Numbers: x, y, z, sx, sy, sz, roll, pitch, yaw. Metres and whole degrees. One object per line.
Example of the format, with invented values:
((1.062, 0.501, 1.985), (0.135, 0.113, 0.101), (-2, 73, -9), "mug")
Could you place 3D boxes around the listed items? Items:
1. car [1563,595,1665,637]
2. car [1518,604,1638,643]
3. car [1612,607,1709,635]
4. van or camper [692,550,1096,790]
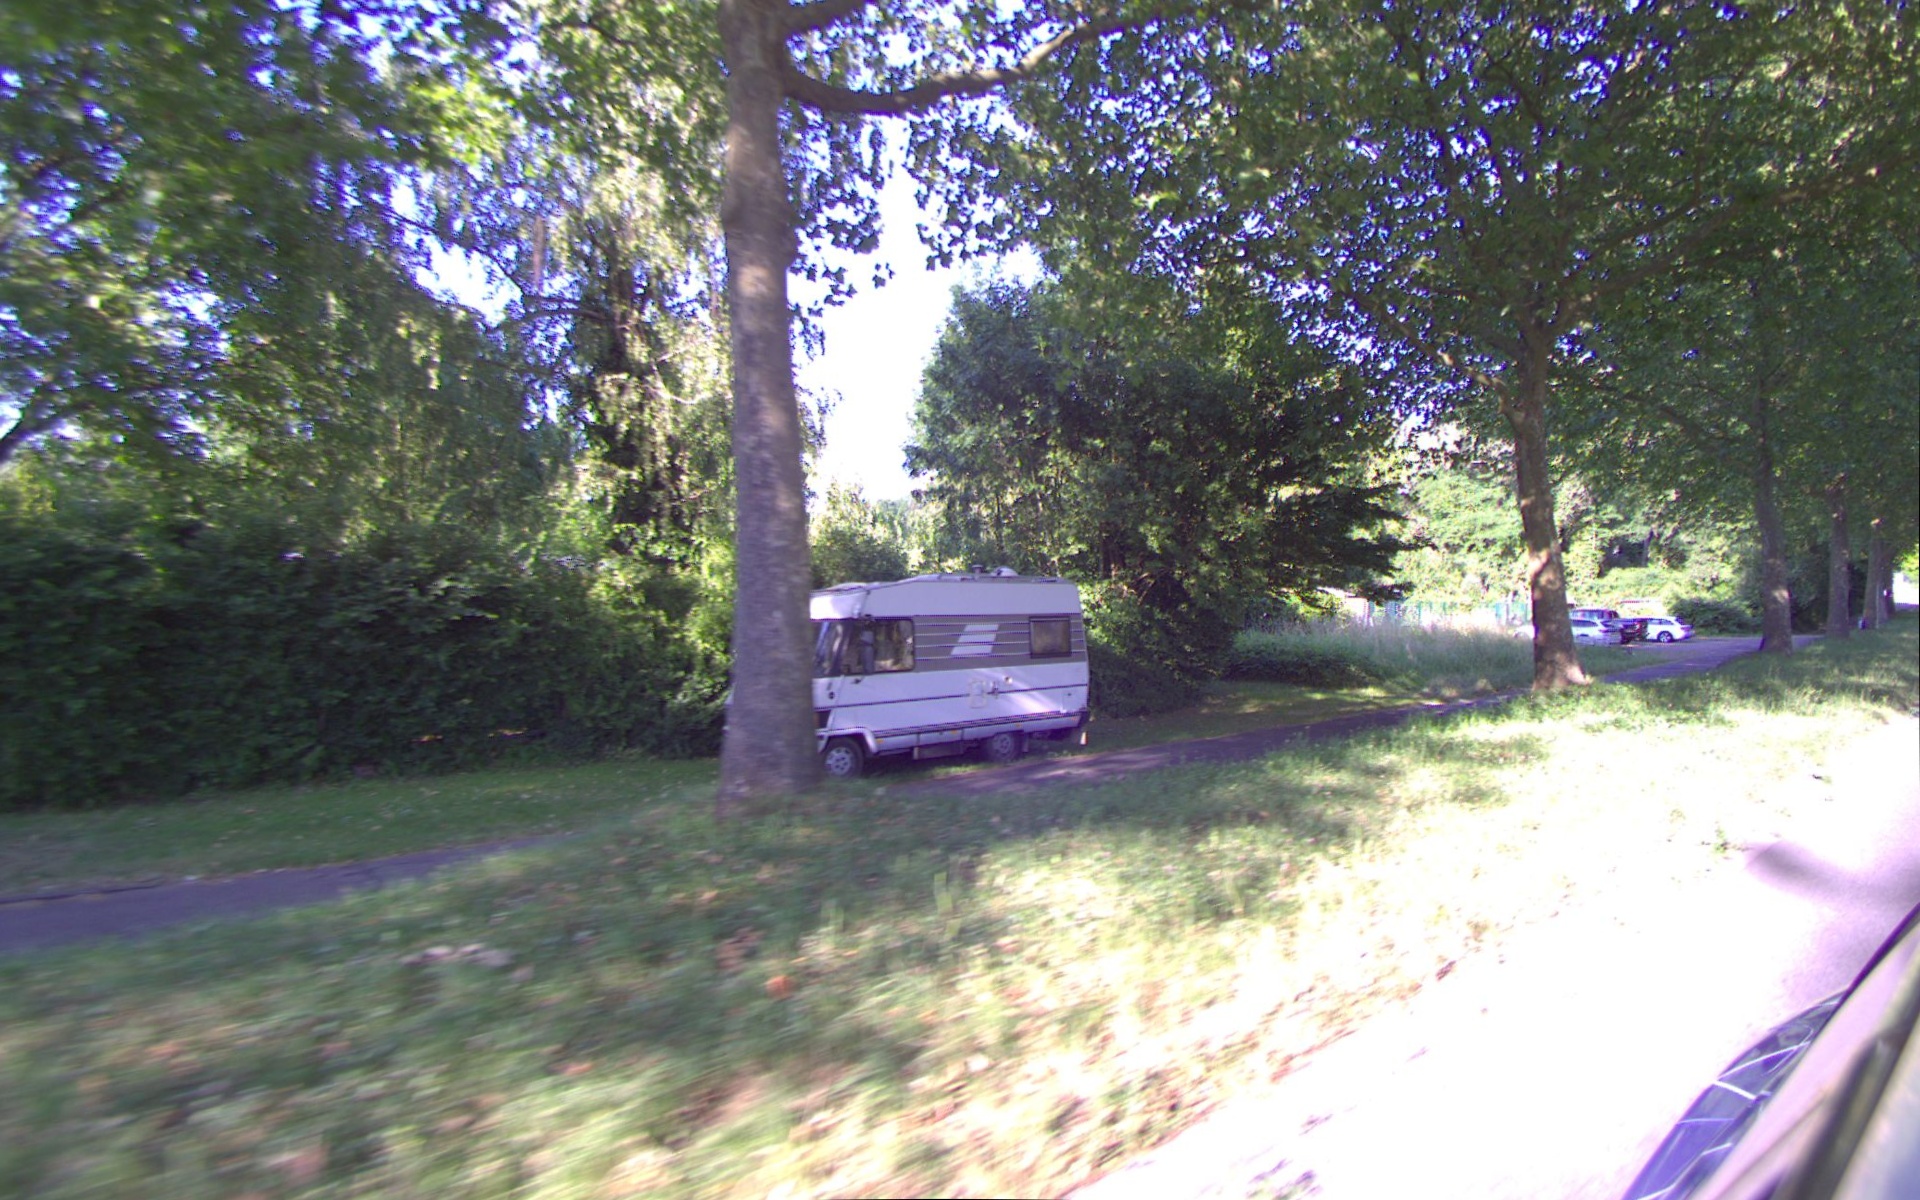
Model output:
((33.696, 0.774, 52.230), (1.962, 2.039, 4.001), (0, 1, -34), "car")
((29.485, 1.067, 48.409), (1.962, 1.691, 4.516), (-1, 1, -34), "car")
((38.636, 1.136, 55.884), (1.962, 1.404, 4.001), (-1, 1, -34), "car")
((-0.772, 0.787, 14.697), (5.587, 2.835, 2.384), (-1, 1, -41), "van or camper")
